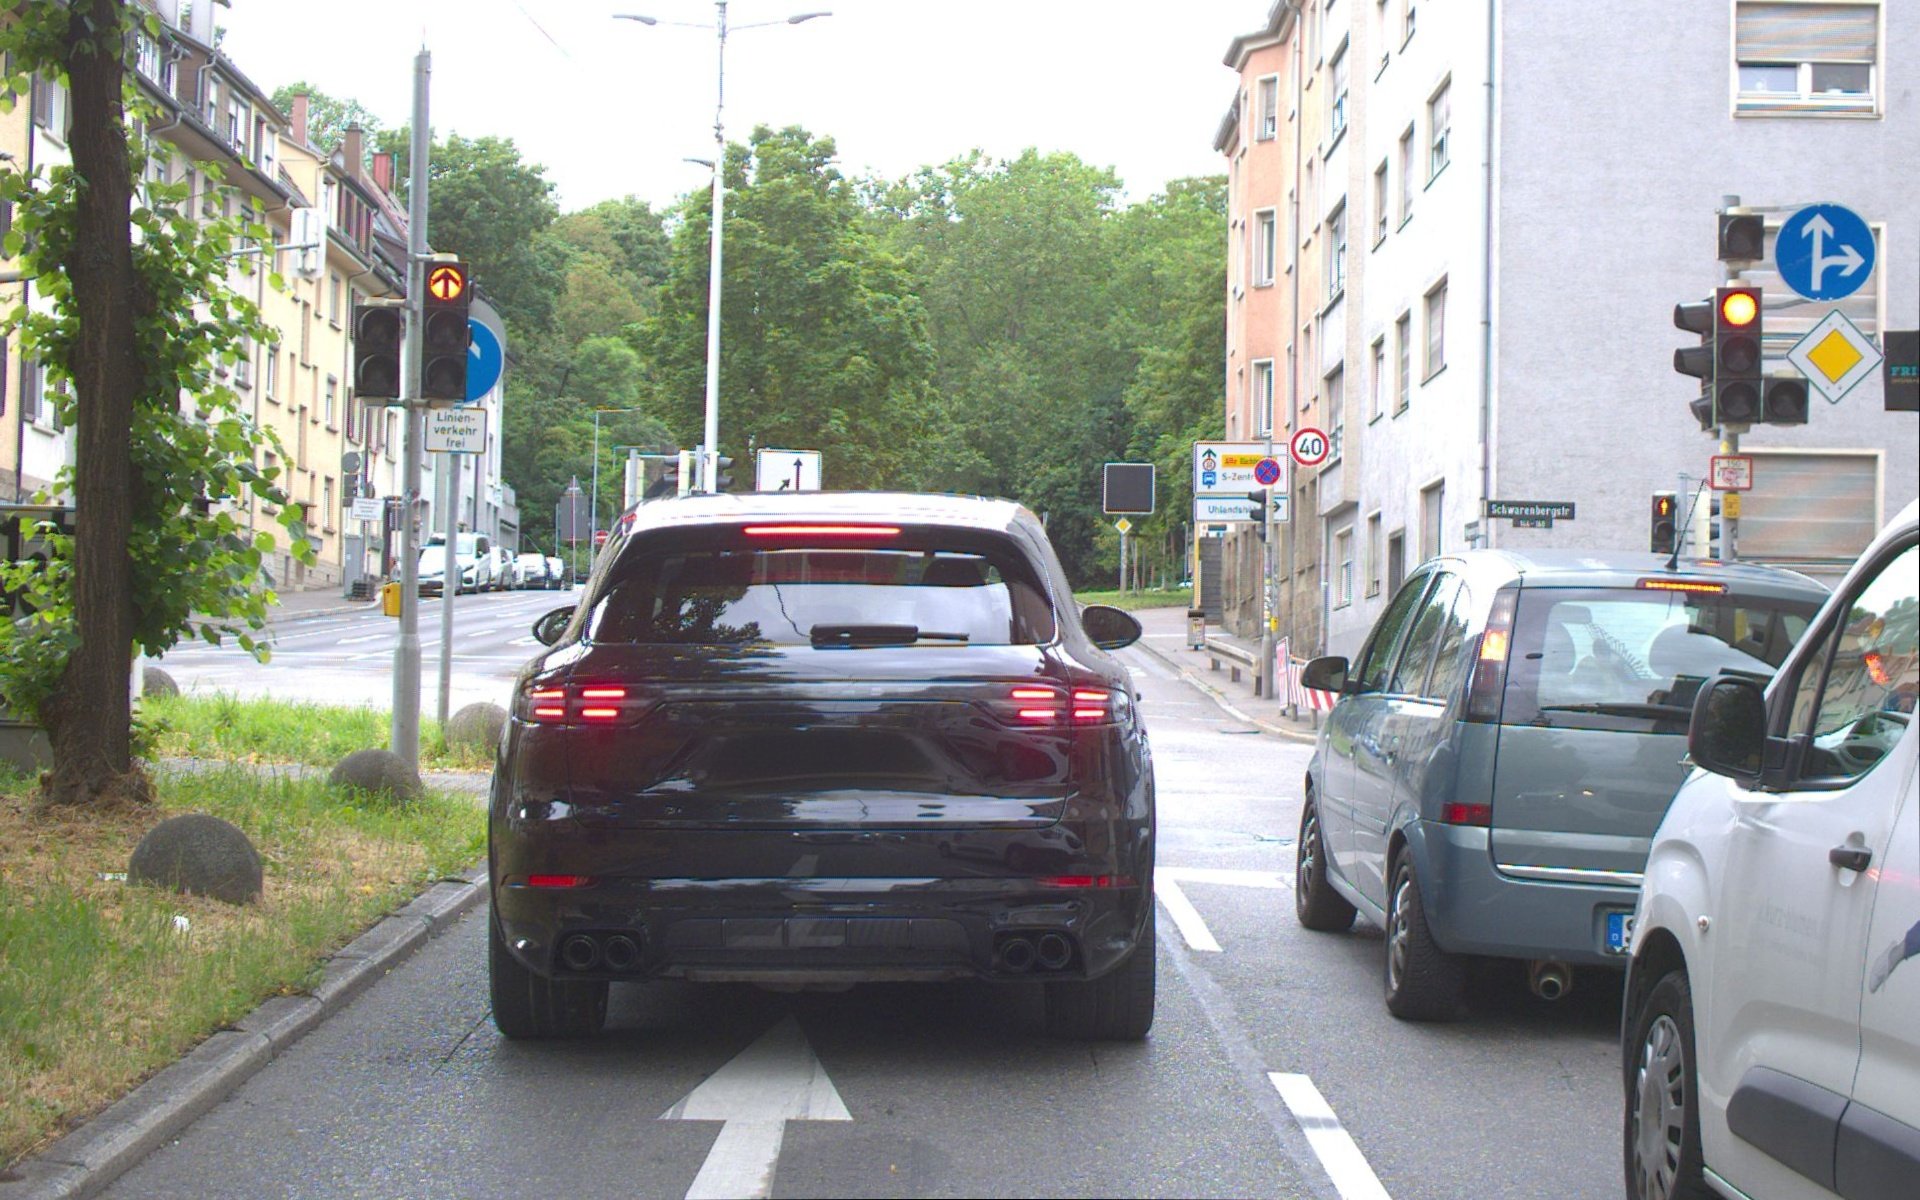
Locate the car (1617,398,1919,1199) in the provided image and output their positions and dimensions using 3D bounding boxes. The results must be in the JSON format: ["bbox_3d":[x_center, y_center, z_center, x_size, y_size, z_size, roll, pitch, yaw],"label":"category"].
[{"bbox_3d":[2.442,0.639,6.107,1.850,1.819,5.019,2,0,4],"label":"car"}]

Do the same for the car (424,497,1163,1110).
[{"bbox_3d":[-0.428,0.504,11.337,1.994,1.647,4.000,1,1,1],"label":"car"}]

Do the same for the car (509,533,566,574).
[{"bbox_3d":[-16.487,-1.828,134.394,1.794,1.505,4.000,1,1,-1],"label":"car"}]

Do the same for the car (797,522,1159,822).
[{"bbox_3d":[0.126,0.386,21.064,1.994,1.647,4.000,1,0,1],"label":"car"}]

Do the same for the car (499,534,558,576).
[{"bbox_3d":[-16.241,-1.708,129.498,1.794,1.505,4.000,1,1,-1],"label":"car"}]

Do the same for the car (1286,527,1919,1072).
[{"bbox_3d":[2.287,0.608,12.505,1.752,1.588,3.630,4,0,0],"label":"car"}]

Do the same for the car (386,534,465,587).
[{"bbox_3d":[-16.016,-1.194,103.092,1.794,1.505,4.000,1,1,-1],"label":"car"}]

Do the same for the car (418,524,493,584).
[{"bbox_3d":[-15.847,-1.451,108.114,1.794,1.804,4.000,1,1,-1],"label":"car"}]
